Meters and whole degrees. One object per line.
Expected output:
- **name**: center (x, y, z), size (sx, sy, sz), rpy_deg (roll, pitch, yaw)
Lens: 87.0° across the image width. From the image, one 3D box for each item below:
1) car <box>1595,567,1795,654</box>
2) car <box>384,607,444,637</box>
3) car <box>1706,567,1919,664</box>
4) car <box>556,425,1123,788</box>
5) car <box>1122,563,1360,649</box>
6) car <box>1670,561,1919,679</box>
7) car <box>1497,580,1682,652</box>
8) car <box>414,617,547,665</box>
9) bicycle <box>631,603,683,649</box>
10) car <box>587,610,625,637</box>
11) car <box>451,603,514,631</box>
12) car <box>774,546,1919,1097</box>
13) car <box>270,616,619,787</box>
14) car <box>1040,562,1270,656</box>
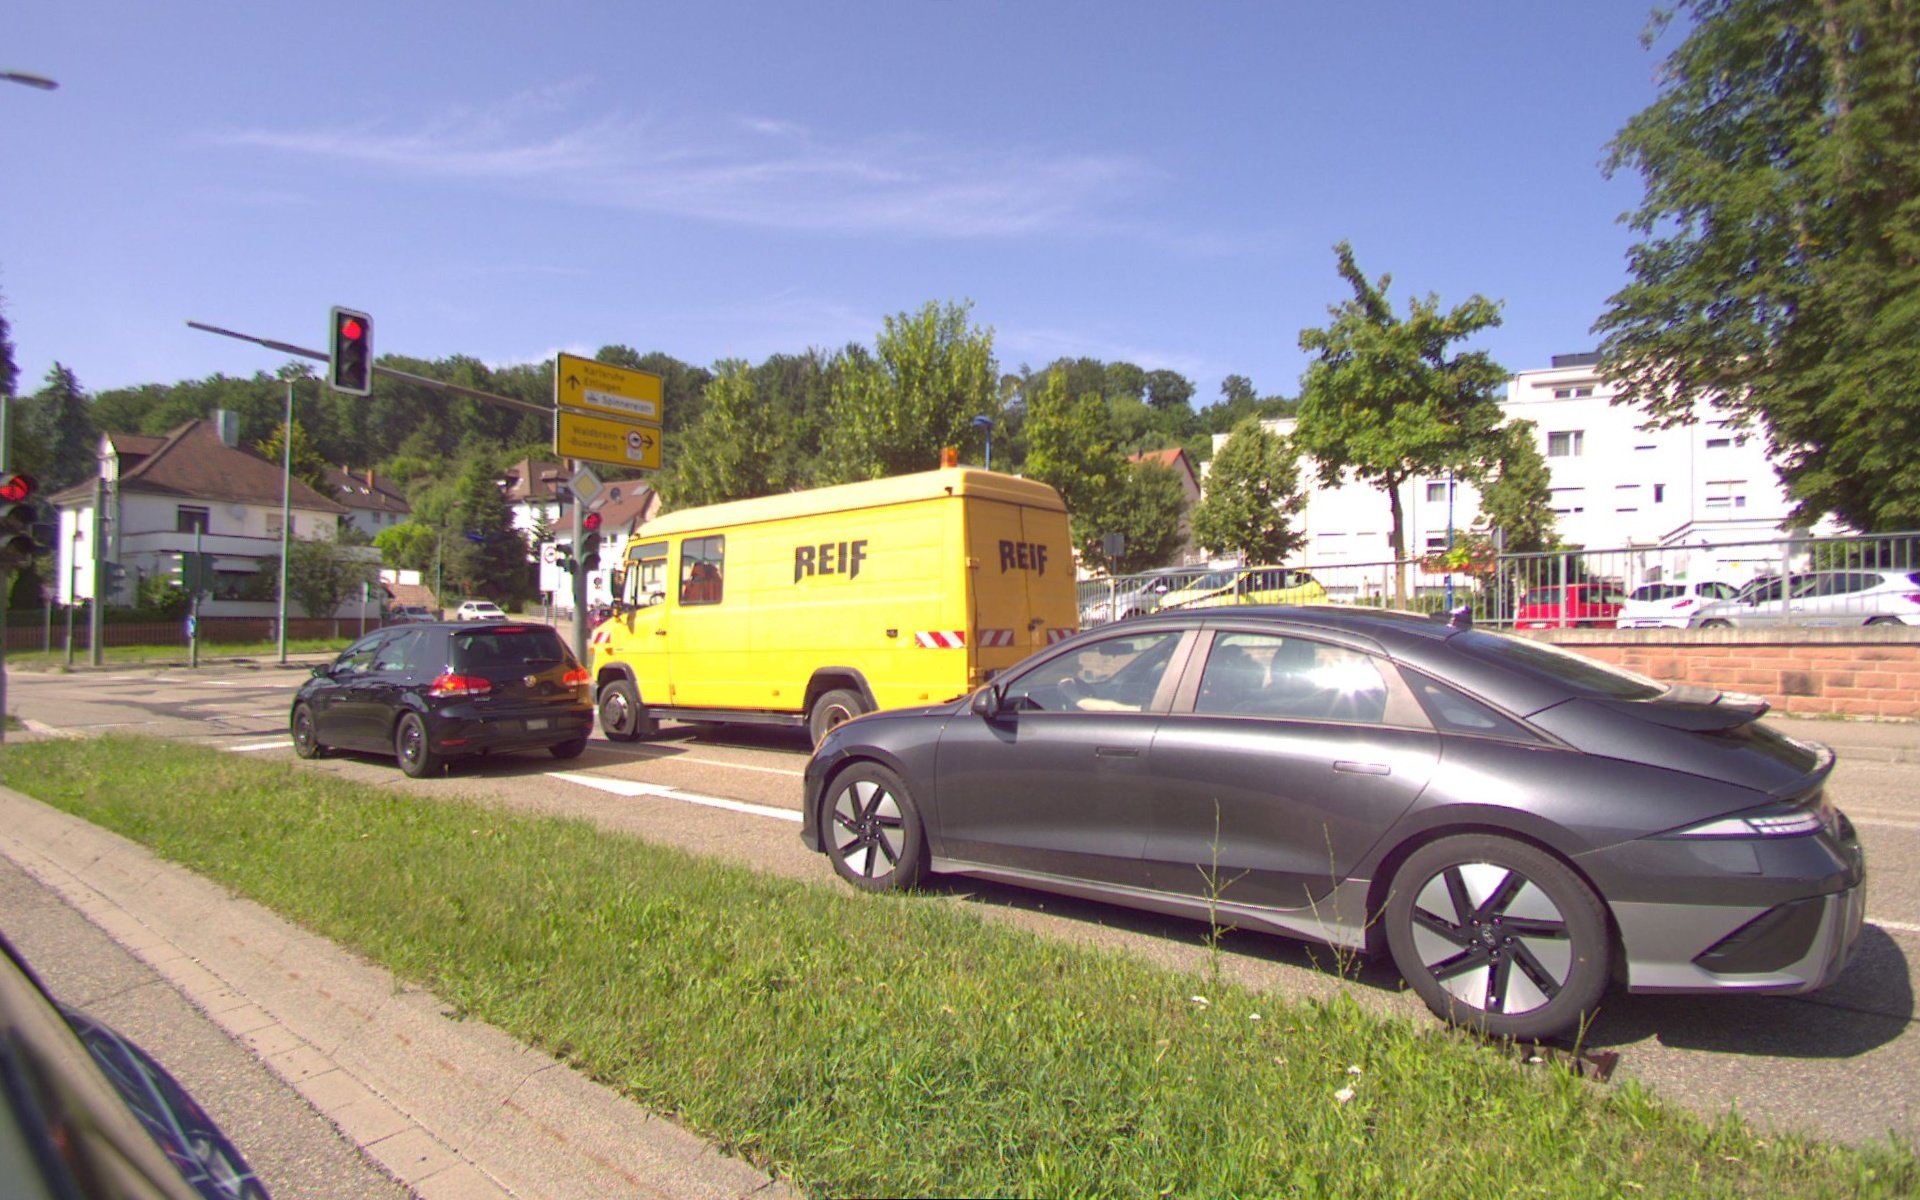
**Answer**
- **car**: center (16.779, 0.230, 23.109), size (3.931, 1.714, 1.920), rpy_deg (-3, -1, -24)
- **car**: center (-33.091, 1.364, 61.267), size (3.999, 1.649, 1.914), rpy_deg (-3, -1, 42)
- **car**: center (17.340, 0.279, 20.204), size (3.931, 1.684, 2.006), rpy_deg (-2, -1, -19)
- **car**: center (-1.636, 0.096, 11.414), size (6.456, 3.033, 2.444), rpy_deg (-1, 0, 38)
- **car**: center (5.318, 0.099, 19.229), size (3.931, 1.392, 1.920), rpy_deg (-2, 0, -21)
- **car**: center (14.870, 0.337, 17.358), size (1.888, 1.803, 4.013), rpy_deg (0, -1, -21)
- **car**: center (15.746, 0.387, 25.340), size (3.931, 1.571, 1.920), rpy_deg (-2, -1, -21)
- **car**: center (-17.017, 1.406, 36.215), size (1.958, 1.515, 4.738), rpy_deg (-2, -1, 8)
- **bicycle**: center (-9.322, 0.812, 31.089), size (1.756, 1.265, 0.612), rpy_deg (-5, 1, 42)
- **car**: center (-21.235, 1.400, 60.562), size (1.633, 1.545, 3.967), rpy_deg (-1, -2, -27)
- **car**: center (-30.334, 1.094, 64.246), size (3.994, 1.619, 1.975), rpy_deg (-3, -1, 38)
- **car**: center (1.393, 0.646, 4.768), size (4.708, 1.482, 1.775), rpy_deg (-2, -1, 38)
- **car**: center (-5.516, 0.928, 10.644), size (4.037, 1.474, 1.729), rpy_deg (-2, -2, 38)
- **car**: center (4.160, 0.159, 21.675), size (4.339, 1.709, 2.064), rpy_deg (-3, 1, -21)
